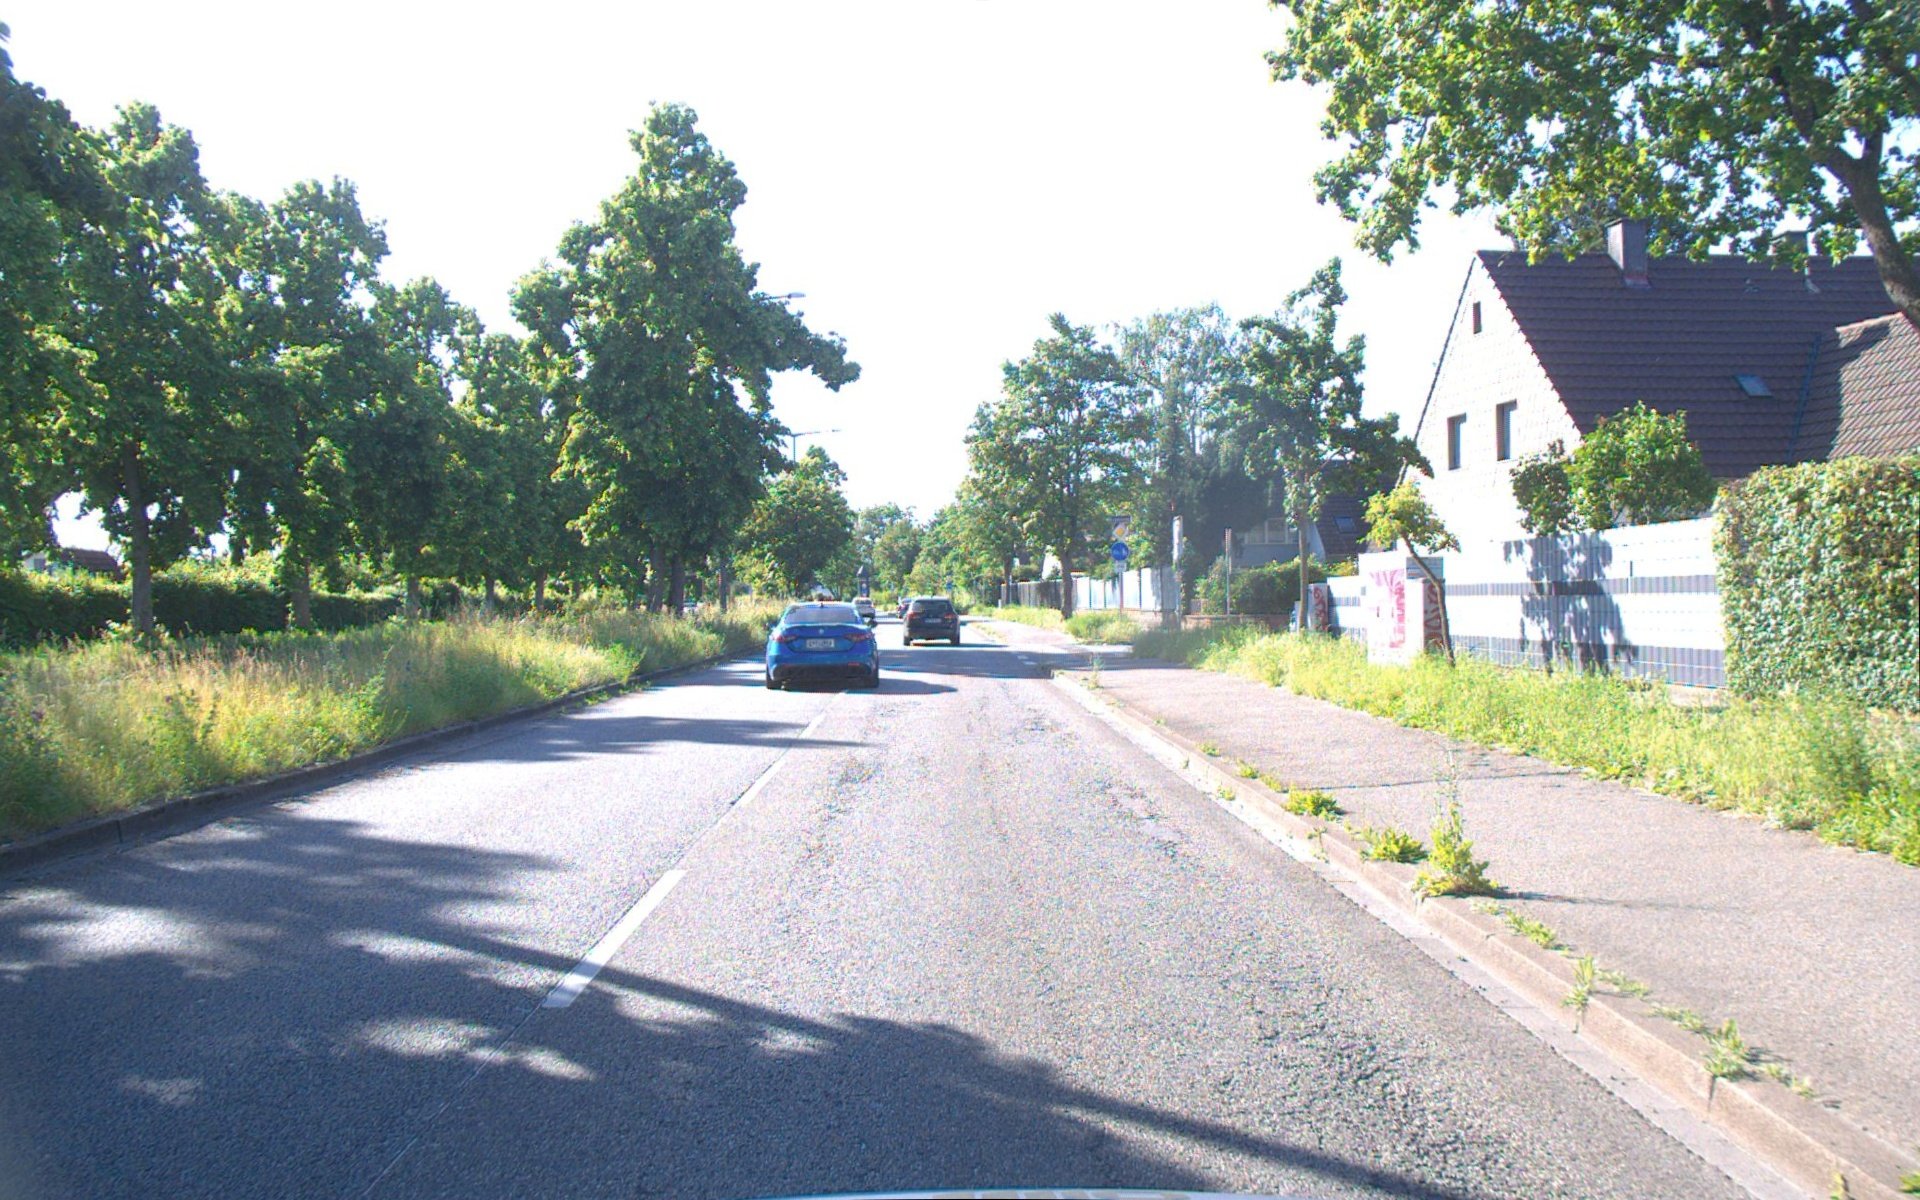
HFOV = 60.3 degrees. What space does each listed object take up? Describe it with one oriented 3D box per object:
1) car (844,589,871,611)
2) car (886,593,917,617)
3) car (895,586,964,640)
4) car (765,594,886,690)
[{"bbox_3d":[-7.166,-0.021,115.787,1.877,1.538,4.065,0,0,-3],"label":"car"},{"bbox_3d":[-4.273,0.352,120.704,1.879,1.707,4.006,0,0,-7],"label":"car"},{"bbox_3d":[-1.001,0.364,51.666,1.878,1.607,4.178,0,0,-5],"label":"car"},{"bbox_3d":[-2.249,0.676,28.590,1.801,1.500,4.183,-1,0,-1],"label":"car"}]
